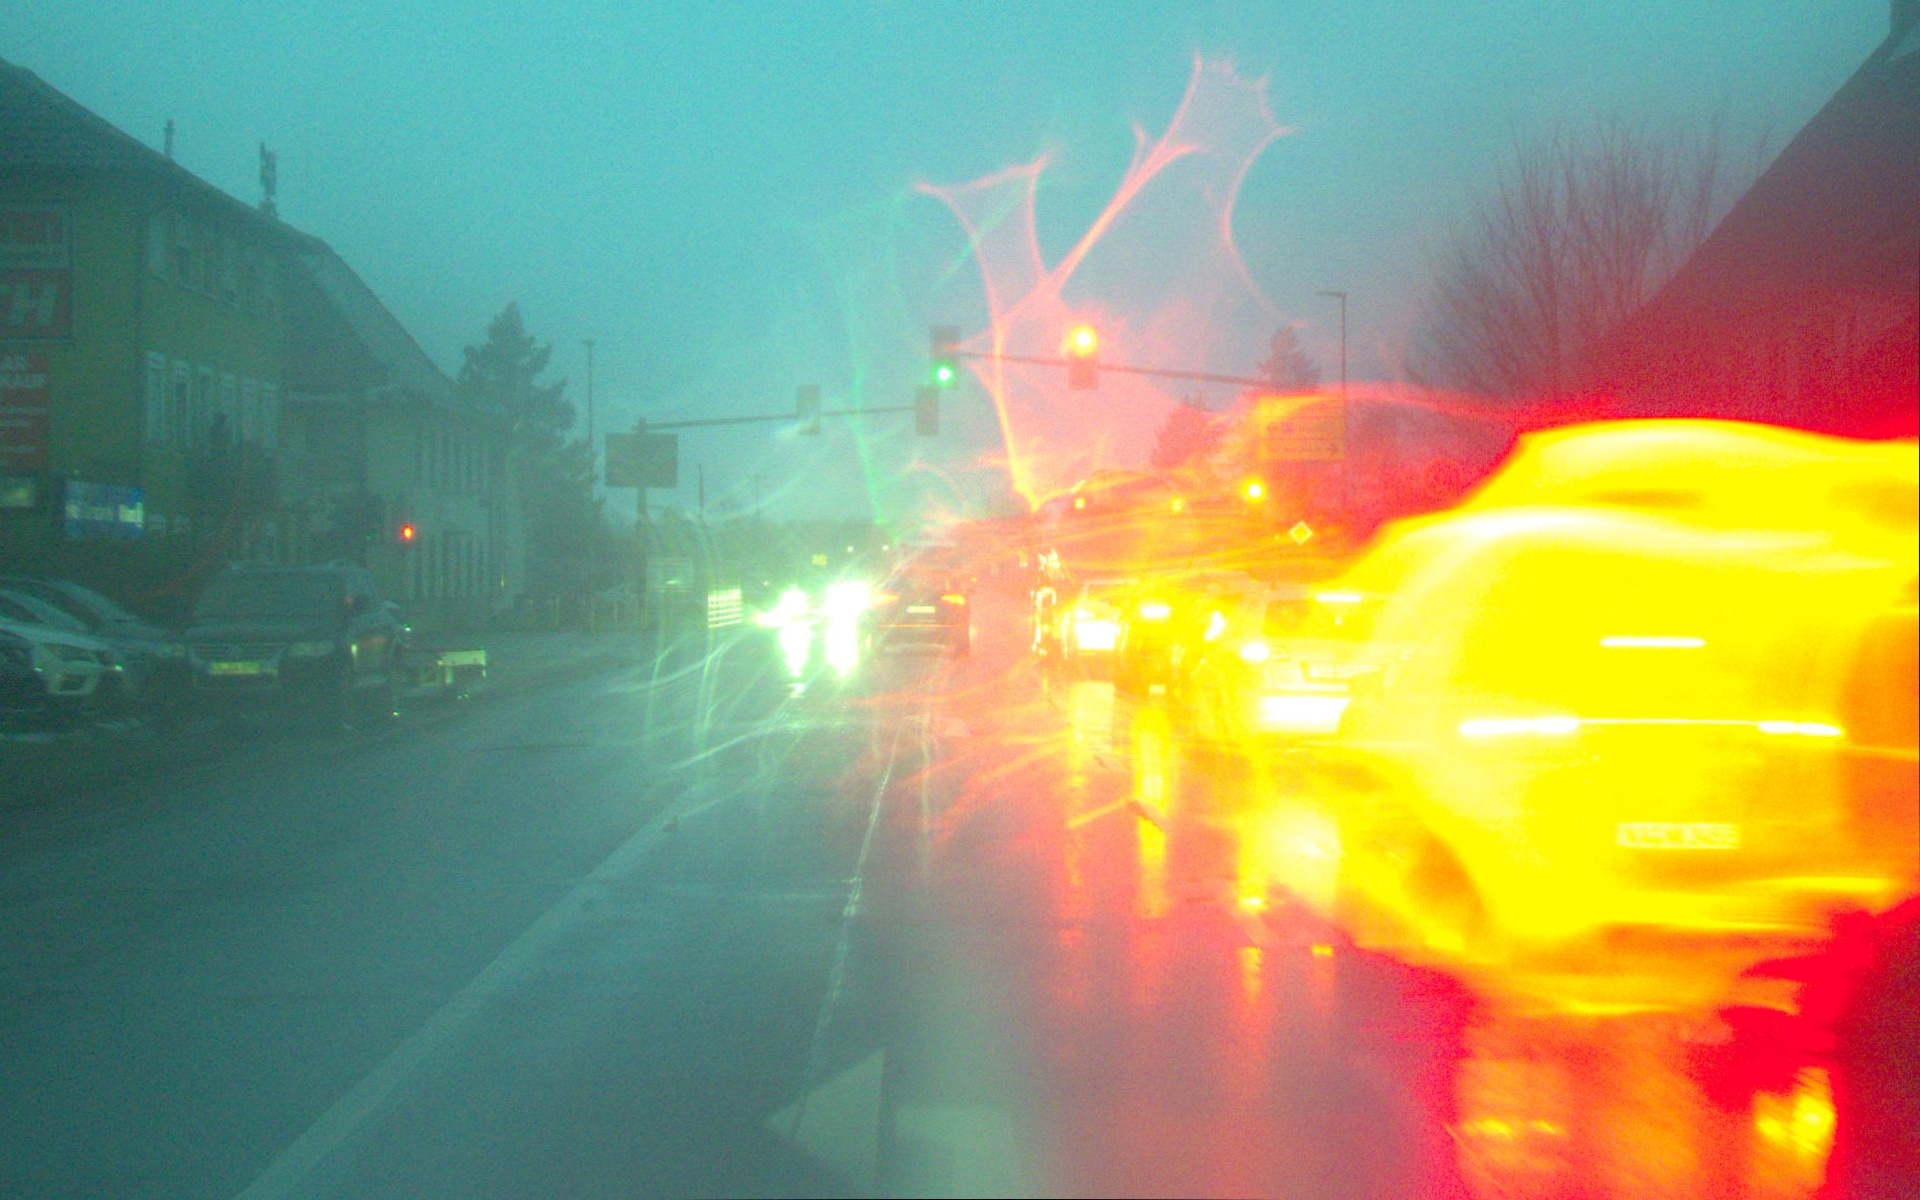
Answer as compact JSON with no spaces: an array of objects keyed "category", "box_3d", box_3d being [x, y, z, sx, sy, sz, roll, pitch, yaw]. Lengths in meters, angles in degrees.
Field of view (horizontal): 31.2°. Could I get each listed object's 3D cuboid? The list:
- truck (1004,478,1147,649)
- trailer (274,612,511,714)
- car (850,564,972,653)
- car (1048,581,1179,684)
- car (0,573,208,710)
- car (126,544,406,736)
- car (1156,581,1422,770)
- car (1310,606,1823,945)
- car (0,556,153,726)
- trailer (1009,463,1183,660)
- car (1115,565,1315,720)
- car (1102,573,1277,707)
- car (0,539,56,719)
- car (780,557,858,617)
[{"category":"truck","box_3d":[2.231,-0.716,68.386,2.461,3.219,6.273,1,0,-1]},{"category":"trailer","box_3d":[-7.004,0.746,43.080,1.993,1.035,6.104,-1,1,0]},{"category":"car","box_3d":[-0.951,0.127,64.124,2.047,1.567,4.703,-1,0,-3]},{"category":"car","box_3d":[2.245,0.455,51.211,1.662,1.434,4.382,1,0,-1]},{"category":"car","box_3d":[-10.434,0.424,37.872,3.894,1.423,1.719,1,0,1]},{"category":"car","box_3d":[-7.054,0.353,35.422,1.970,1.824,4.513,-1,1,0]},{"category":"car","box_3d":[2.505,0.537,27.078,1.653,1.331,4.272,0,1,0]},{"category":"car","box_3d":[2.784,0.739,16.800,1.641,1.362,4.769,1,0,0]},{"category":"car","box_3d":[-10.694,0.334,35.304,4.276,1.621,2.000,3,1,0]},{"category":"trailer","box_3d":[2.333,-0.677,62.540,2.488,3.230,10.869,1,0,-1]},{"category":"car","box_3d":[2.584,0.393,35.620,1.701,1.466,4.272,1,1,0]},{"category":"car","box_3d":[2.858,0.464,43.657,1.836,1.563,4.504,1,0,-1]},{"category":"car","box_3d":[-11.006,0.163,32.608,4.276,1.657,2.000,3,1,0]},{"category":"car","box_3d":[-4.252,-0.412,104.281,1.994,1.740,4.000,-1,0,3]}]
